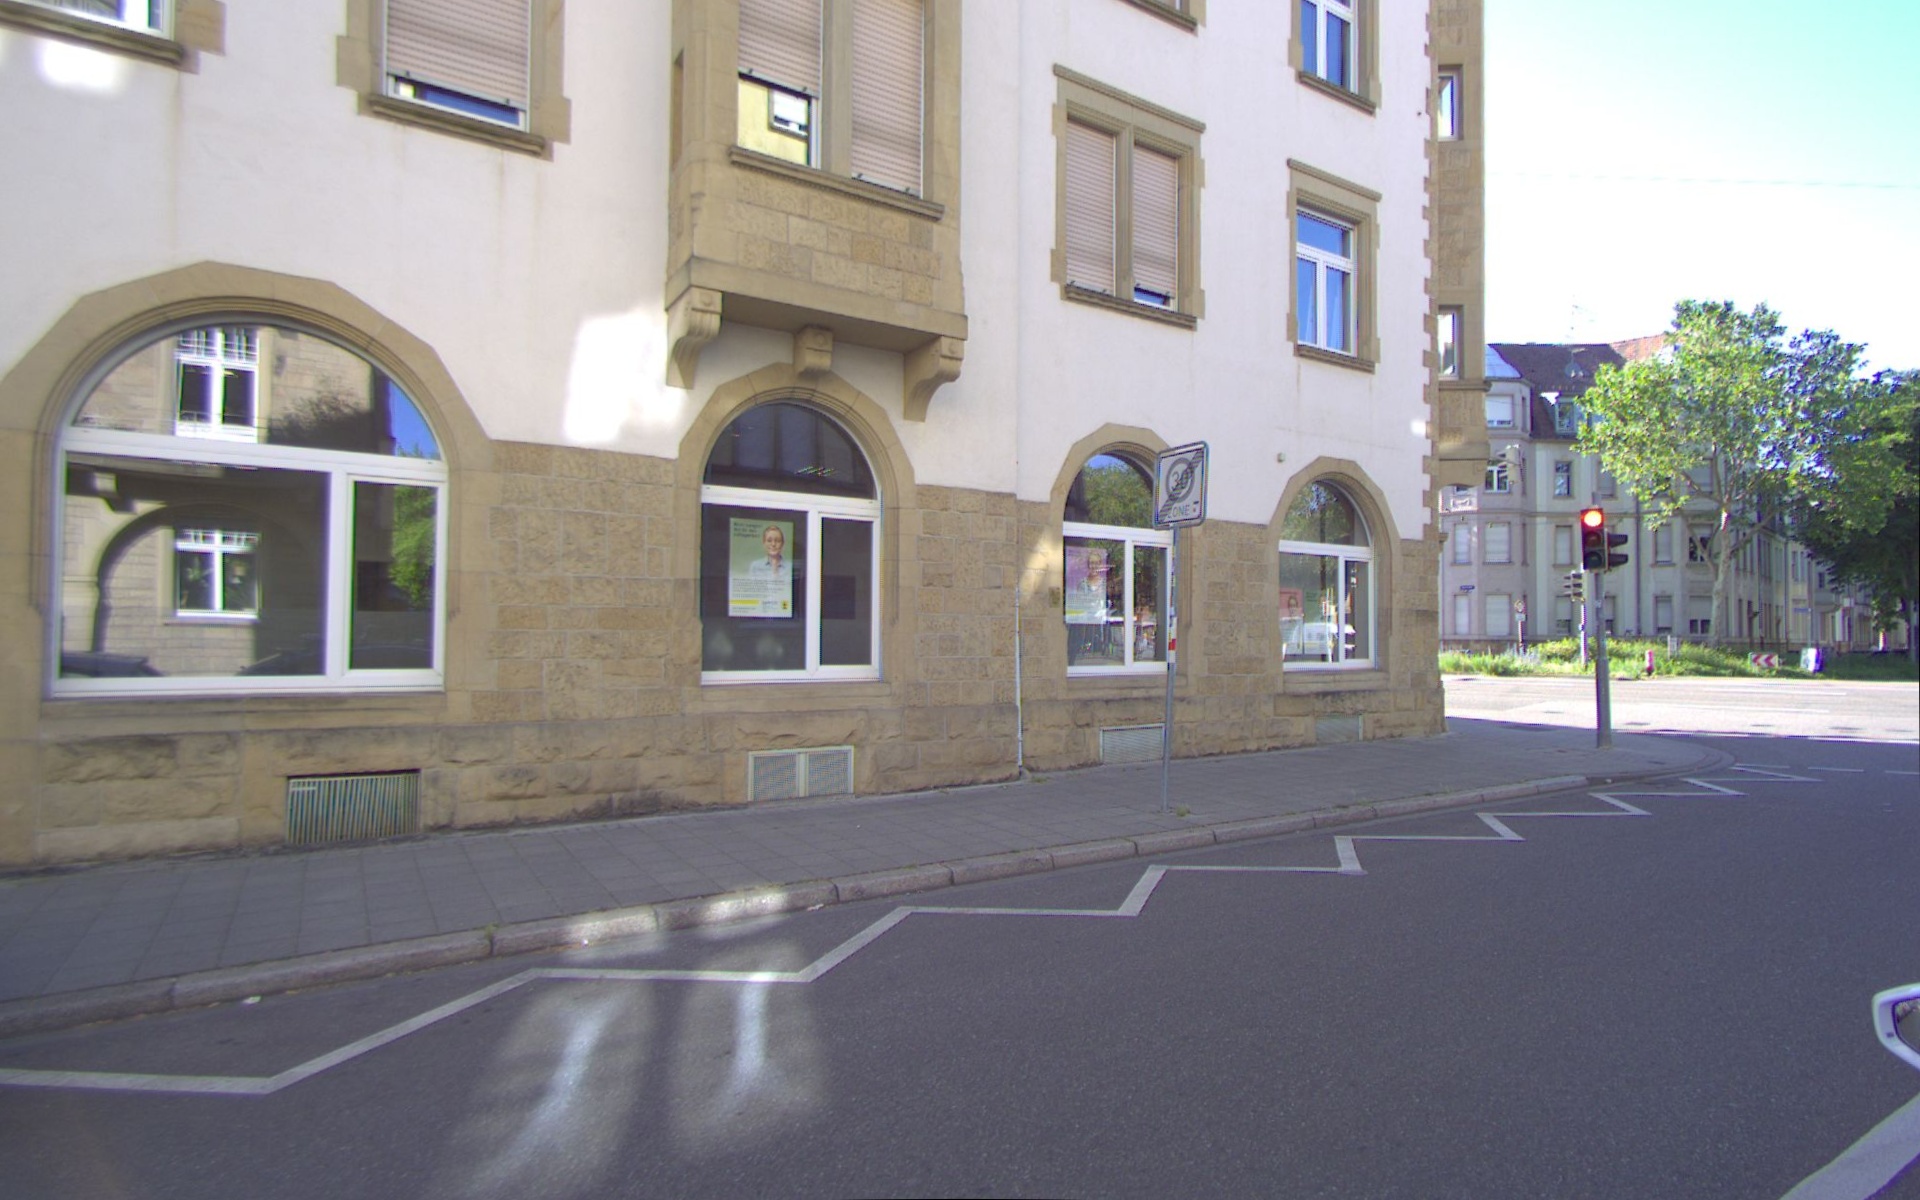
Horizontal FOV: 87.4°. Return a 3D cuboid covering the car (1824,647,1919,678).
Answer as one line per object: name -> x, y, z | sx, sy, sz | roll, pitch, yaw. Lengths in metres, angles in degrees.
car -> 46.879, 3.186, 51.419 | 3.942, 1.505, 1.673 | -2, -3, 42
